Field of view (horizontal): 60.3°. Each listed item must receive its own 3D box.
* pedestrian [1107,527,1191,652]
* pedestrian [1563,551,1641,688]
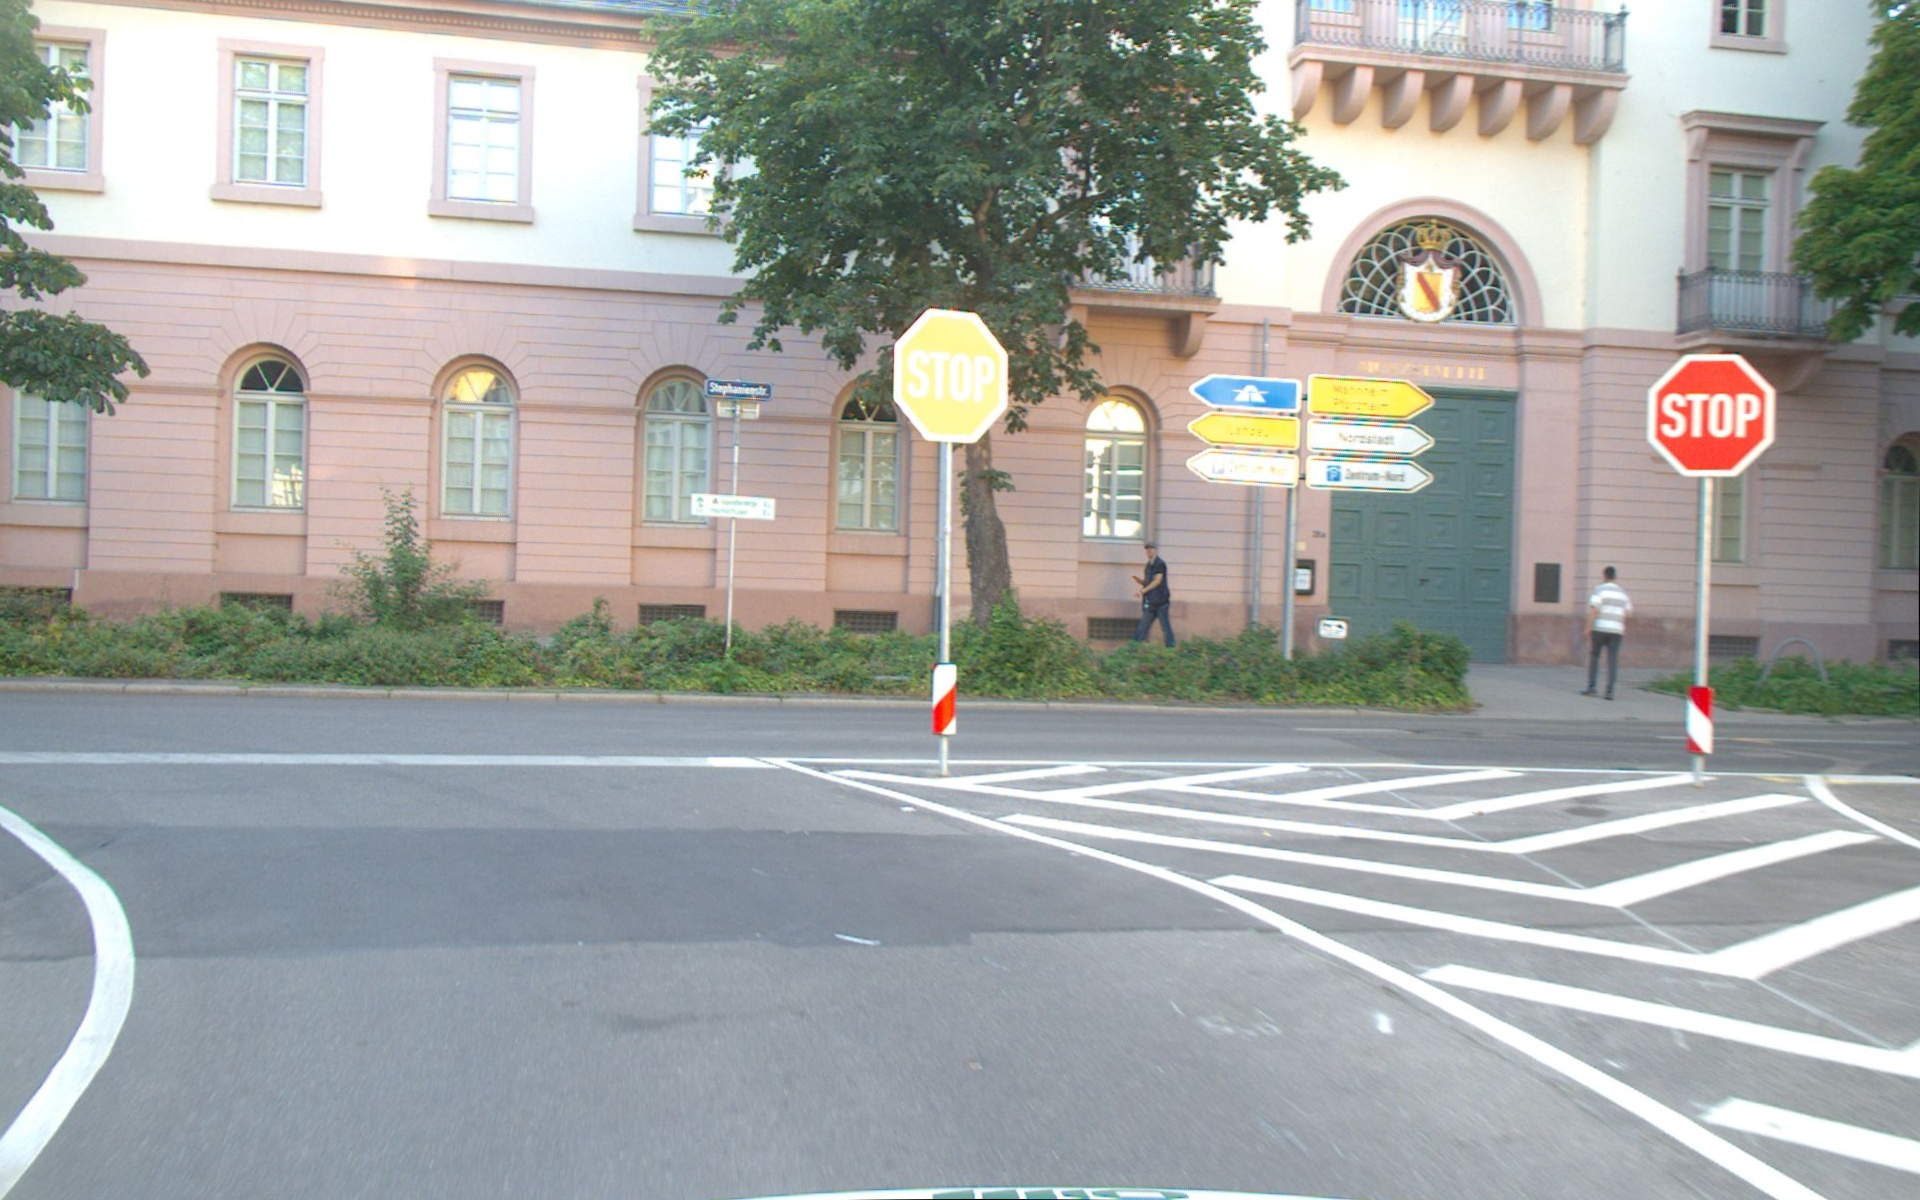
[{"bbox_3d":[2.895,-0.167,25.403,1.059,1.871,0.799,1,1,-10],"label":"pedestrian"},{"bbox_3d":[9.019,0.257,23.229,0.784,1.864,0.926,2,1,34],"label":"pedestrian"}]
